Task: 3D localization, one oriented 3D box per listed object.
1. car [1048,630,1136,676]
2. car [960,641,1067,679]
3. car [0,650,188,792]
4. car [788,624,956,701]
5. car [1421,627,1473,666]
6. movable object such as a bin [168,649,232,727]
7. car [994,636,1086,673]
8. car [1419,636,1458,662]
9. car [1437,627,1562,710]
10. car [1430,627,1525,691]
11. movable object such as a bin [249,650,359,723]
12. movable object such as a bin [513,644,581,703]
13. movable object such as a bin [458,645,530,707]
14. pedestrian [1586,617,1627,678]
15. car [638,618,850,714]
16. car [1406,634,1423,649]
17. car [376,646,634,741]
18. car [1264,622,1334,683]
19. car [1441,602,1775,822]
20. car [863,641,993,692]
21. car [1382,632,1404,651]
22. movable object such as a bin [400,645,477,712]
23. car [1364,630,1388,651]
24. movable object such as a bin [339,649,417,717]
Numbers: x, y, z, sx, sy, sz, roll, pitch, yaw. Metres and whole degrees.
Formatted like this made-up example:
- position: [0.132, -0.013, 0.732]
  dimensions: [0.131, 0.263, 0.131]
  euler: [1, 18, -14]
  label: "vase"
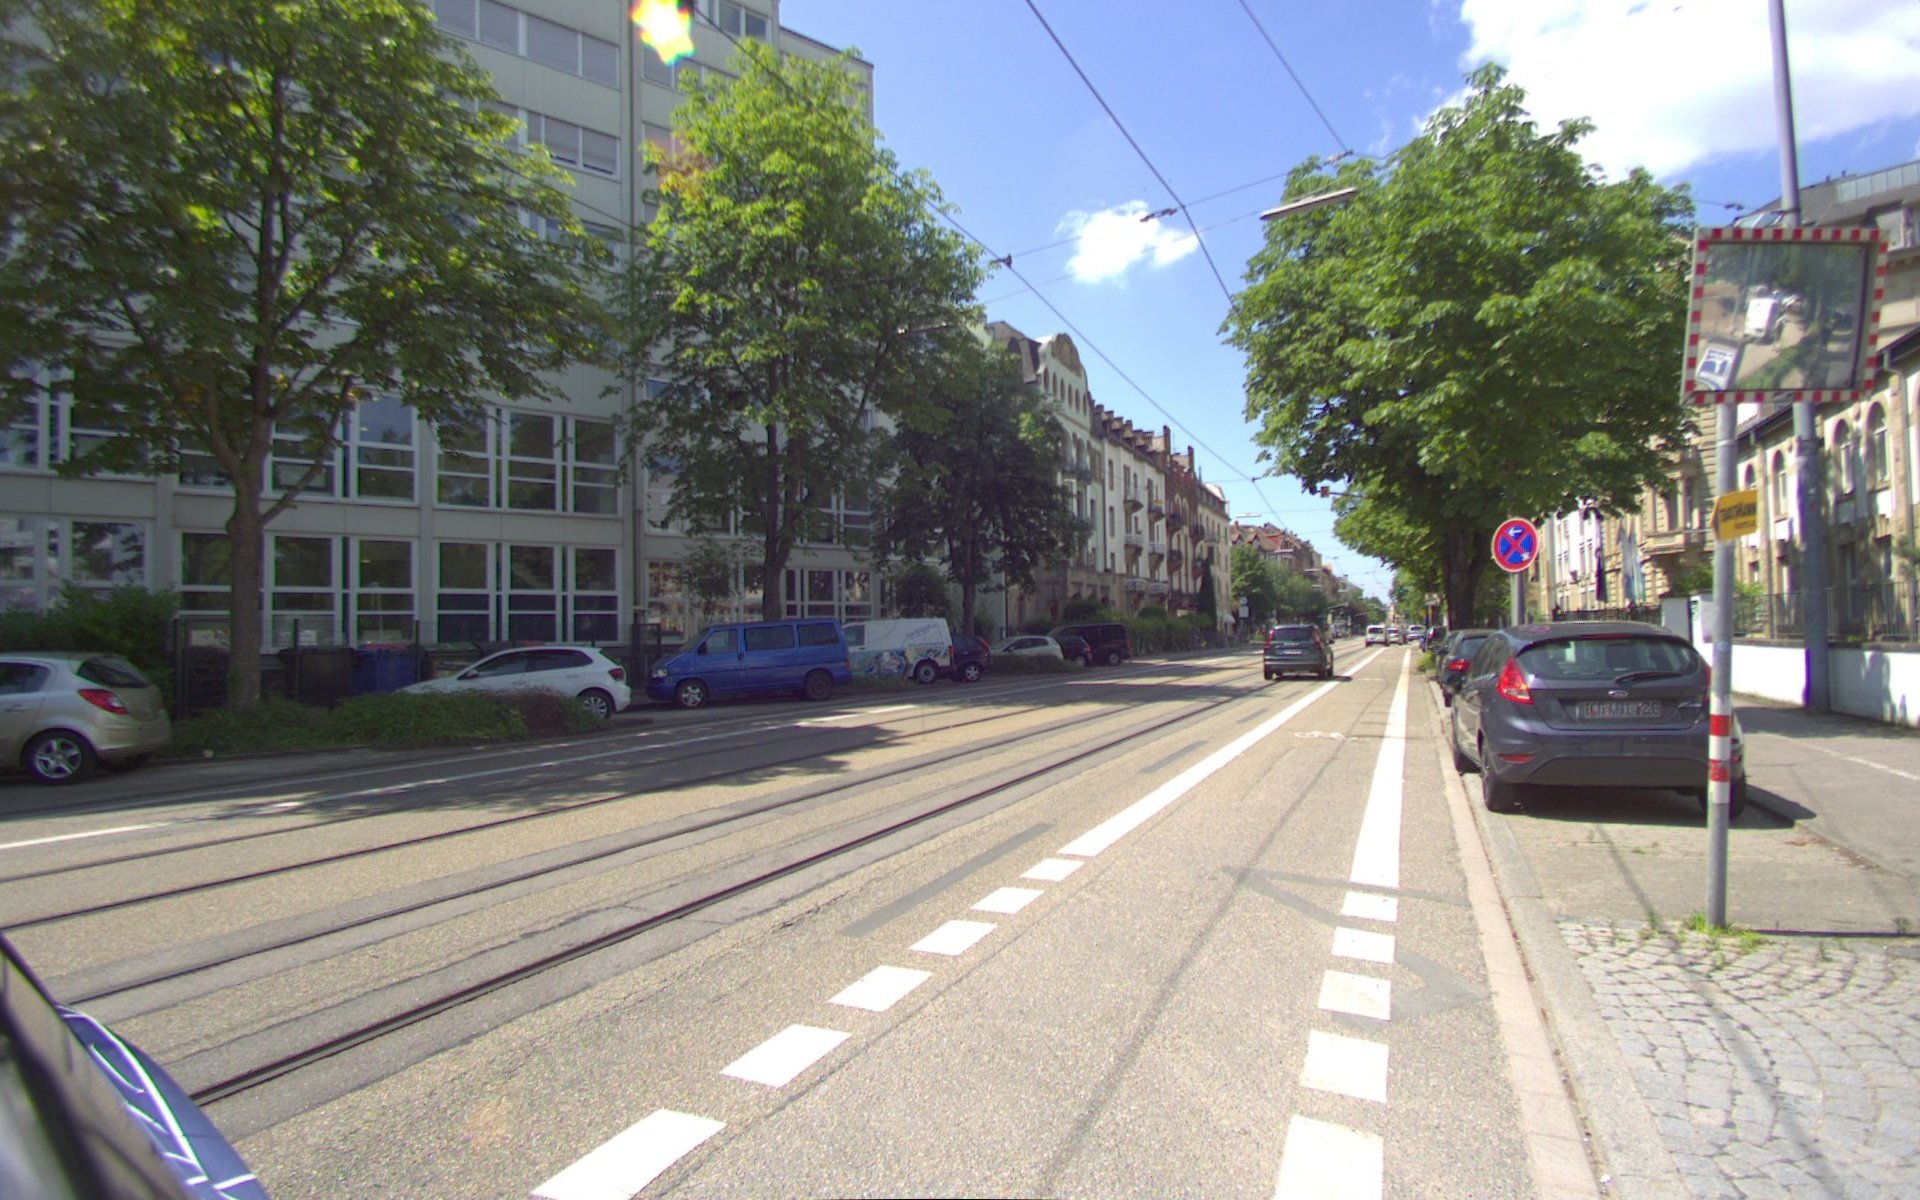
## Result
- position: [6.145, 2.476, 47.359]
  dimensions: [3.953, 2.029, 1.995]
  euler: [-2, -3, 8]
  label: "car"
- position: [2.182, 2.456, 41.344]
  dimensions: [3.930, 1.397, 1.756]
  euler: [2, -2, -22]
  label: "car"
- position: [-11.044, 1.341, 11.308]
  dimensions: [3.479, 1.473, 1.760]
  euler: [0, -3, -22]
  label: "car"
- position: [-2.574, 1.776, 29.238]
  dimensions: [4.553, 2.029, 2.005]
  euler: [-1, -3, -13]
  label: "car"
- position: [22.064, 2.081, 45.757]
  dimensions: [1.723, 1.627, 3.958]
  euler: [-4, -3, 31]
  label: "car"
- position: [-14.376, 1.656, 19.148]
  dimensions: [0.766, 1.416, 0.793]
  euler: [-4, -4, 38]
  label: "movable object such as a bin"
- position: [3.567, 2.436, 44.941]
  dimensions: [3.953, 1.519, 1.944]
  euler: [-2, -3, 8]
  label: "car"
- position: [29.872, 3.044, 63.122]
  dimensions: [1.805, 1.490, 3.958]
  euler: [-4, -3, 30]
  label: "car"
- position: [10.456, 1.293, 19.814]
  dimensions: [1.874, 1.429, 4.113]
  euler: [-3, -3, 26]
  label: "car"
- position: [13.075, 1.474, 25.669]
  dimensions: [1.942, 1.455, 3.739]
  euler: [-3, -3, 26]
  label: "car"
- position: [-12.694, 1.661, 19.617]
  dimensions: [1.120, 1.340, 1.439]
  euler: [-3, -3, 26]
  label: "movable object such as a bin"
- position: [-10.238, 1.821, 25.095]
  dimensions: [1.034, 1.409, 1.169]
  euler: [-4, -4, 32]
  label: "movable object such as a bin"
- position: [-10.939, 1.776, 23.749]
  dimensions: [1.034, 1.409, 1.169]
  euler: [-4, -4, 32]
  label: "movable object such as a bin"
- position: [16.882, 1.240, 26.447]
  dimensions: [0.693, 1.579, 0.738]
  euler: [-2, -3, 23]
  label: "pedestrian"
- position: [-5.064, 1.495, 23.622]
  dimensions: [4.550, 2.029, 2.006]
  euler: [0, -3, -21]
  label: "car"
- position: [54.733, 4.983, 121.713]
  dimensions: [1.754, 1.732, 3.966]
  euler: [-3, -3, 25]
  label: "car"
- position: [-7.809, 1.565, 17.645]
  dimensions: [3.912, 1.424, 1.720]
  euler: [0, -3, -22]
  label: "car"
- position: [10.172, 1.562, 30.210]
  dimensions: [1.597, 1.664, 3.967]
  euler: [-2, -3, 24]
  label: "car"
- position: [5.284, 0.879, 8.785]
  dimensions: [1.577, 1.468, 3.700]
  euler: [-5, -4, 21]
  label: "car"
- position: [-1.063, 2.110, 32.379]
  dimensions: [3.935, 1.497, 1.674]
  euler: [-1, -3, -10]
  label: "car"
- position: [41.484, 4.012, 96.881]
  dimensions: [1.754, 1.732, 3.966]
  euler: [-3, -3, 25]
  label: "car"
- position: [-11.584, 1.735, 22.501]
  dimensions: [1.034, 1.409, 1.169]
  euler: [-4, -4, 32]
  label: "movable object such as a bin"
- position: [35.904, 3.484, 87.223]
  dimensions: [1.669, 1.732, 3.966]
  euler: [-3, -3, 25]
  label: "car"
- position: [-12.105, 1.714, 21.065]
  dimensions: [0.966, 1.340, 1.067]
  euler: [-3, -3, 26]
  label: "movable object such as a bin"
